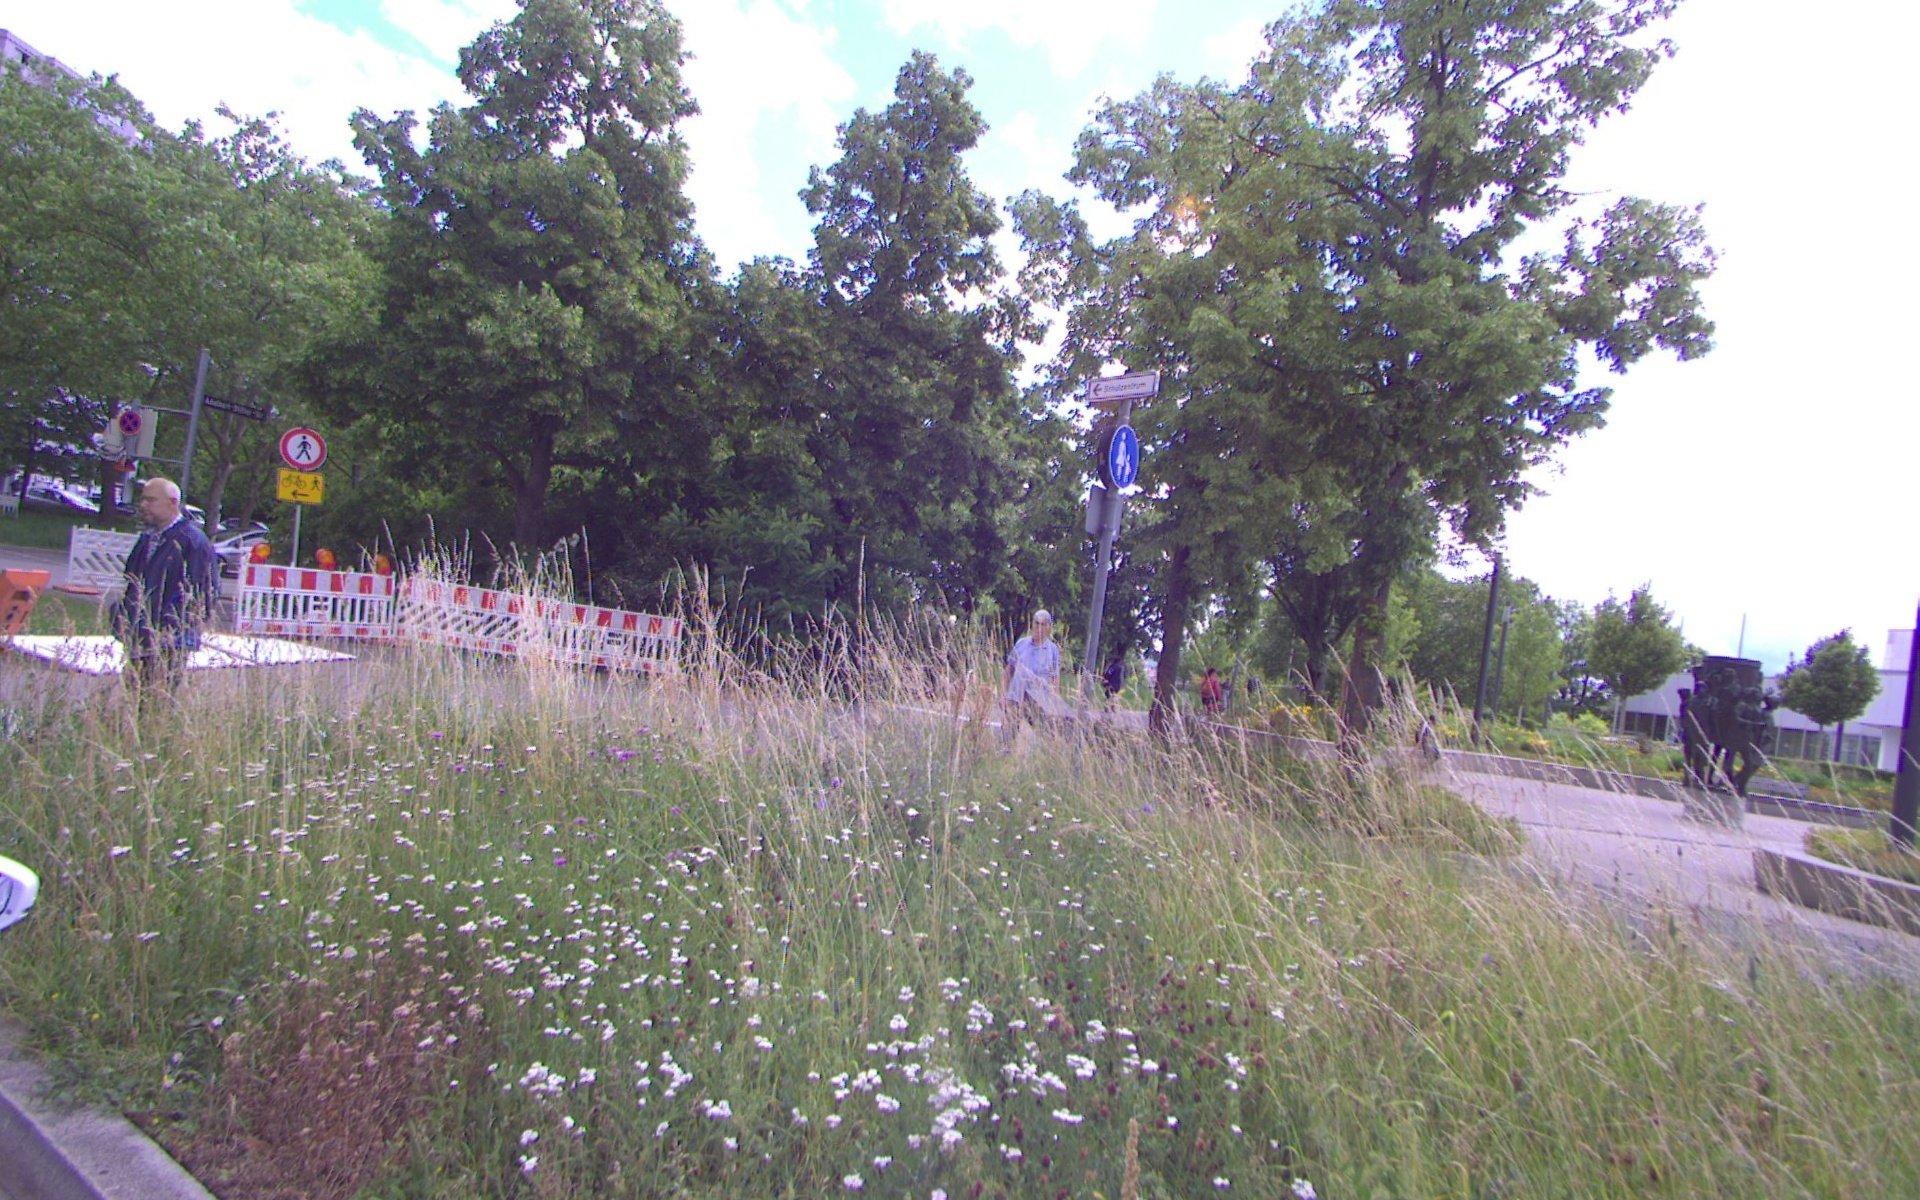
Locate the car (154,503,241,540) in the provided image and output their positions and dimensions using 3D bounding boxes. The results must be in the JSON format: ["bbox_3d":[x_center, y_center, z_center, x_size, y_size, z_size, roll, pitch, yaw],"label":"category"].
[{"bbox_3d":[-44.634,-4.598,58.895,3.820,1.482,1.486,7,-1,1],"label":"car"}]

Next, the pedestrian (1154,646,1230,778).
[{"bbox_3d":[3.258,1.548,14.084,0.685,1.715,0.651,7,0,28],"label":"pedestrian"}]

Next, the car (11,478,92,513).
[{"bbox_3d":[-54.440,-6.248,60.324,3.345,1.420,1.486,7,-2,1],"label":"car"}]

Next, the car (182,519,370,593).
[{"bbox_3d":[-21.157,-1.319,31.297,1.744,1.604,4.405,6,-2,33],"label":"car"}]

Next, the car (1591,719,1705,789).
[{"bbox_3d":[22.788,5.066,33.478,1.606,1.786,3.509,7,-2,9],"label":"car"}]

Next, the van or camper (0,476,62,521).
[{"bbox_3d":[-44.305,-4.847,46.496,3.925,1.704,1.847,8,-1,4],"label":"van or camper"}]

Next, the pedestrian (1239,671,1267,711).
[{"bbox_3d":[13.198,4.092,45.293,0.974,1.671,0.871,7,0,21],"label":"pedestrian"}]

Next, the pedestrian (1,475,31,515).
[{"bbox_3d":[-51.740,-5.763,55.150,0.838,2.025,0.806,7,-1,27],"label":"pedestrian"}]

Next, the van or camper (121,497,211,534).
[{"bbox_3d":[-44.553,-4.733,56.489,3.706,1.372,1.519,8,-2,-1],"label":"van or camper"}]

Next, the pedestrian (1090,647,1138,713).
[{"bbox_3d":[4.287,2.225,27.953,0.974,1.671,0.871,7,0,21],"label":"pedestrian"}]

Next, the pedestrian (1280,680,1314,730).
[{"bbox_3d":[12.333,3.827,36.806,0.974,1.671,0.871,7,0,21],"label":"pedestrian"}]

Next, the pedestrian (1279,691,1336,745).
[{"bbox_3d":[7.165,2.426,20.772,0.703,0.959,0.747,8,-1,-21],"label":"pedestrian"}]

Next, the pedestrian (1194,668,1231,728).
[{"bbox_3d":[6.790,2.625,26.998,0.624,1.519,0.704,7,0,29],"label":"pedestrian"}]

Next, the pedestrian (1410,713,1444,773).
[{"bbox_3d":[10.768,3.277,23.188,0.560,1.277,0.582,7,-1,29],"label":"pedestrian"}]

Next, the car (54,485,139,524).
[{"bbox_3d":[-54.459,-5.990,63.457,3.751,1.653,1.674,9,-1,1],"label":"car"}]

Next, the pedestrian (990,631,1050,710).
[{"bbox_3d":[1.380,1.613,23.072,0.974,1.671,0.871,7,0,21],"label":"pedestrian"}]

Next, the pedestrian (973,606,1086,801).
[{"bbox_3d":[0.710,1.023,10.165,0.716,1.812,0.693,8,0,26],"label":"pedestrian"}]

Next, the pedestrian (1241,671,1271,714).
[{"bbox_3d":[12.439,3.871,42.241,0.974,1.671,0.871,7,0,21],"label":"pedestrian"}]

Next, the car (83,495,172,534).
[{"bbox_3d":[-43.769,-4.495,52.937,3.345,1.420,1.486,7,-2,2],"label":"car"}]

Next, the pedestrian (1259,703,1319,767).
[{"bbox_3d":[5.151,2.099,15.734,0.685,0.874,0.651,7,0,28],"label":"pedestrian"}]

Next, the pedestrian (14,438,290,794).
[{"bbox_3d":[-4.485,0.095,5.678,0.717,1.761,0.953,8,-1,-16],"label":"pedestrian"}]
